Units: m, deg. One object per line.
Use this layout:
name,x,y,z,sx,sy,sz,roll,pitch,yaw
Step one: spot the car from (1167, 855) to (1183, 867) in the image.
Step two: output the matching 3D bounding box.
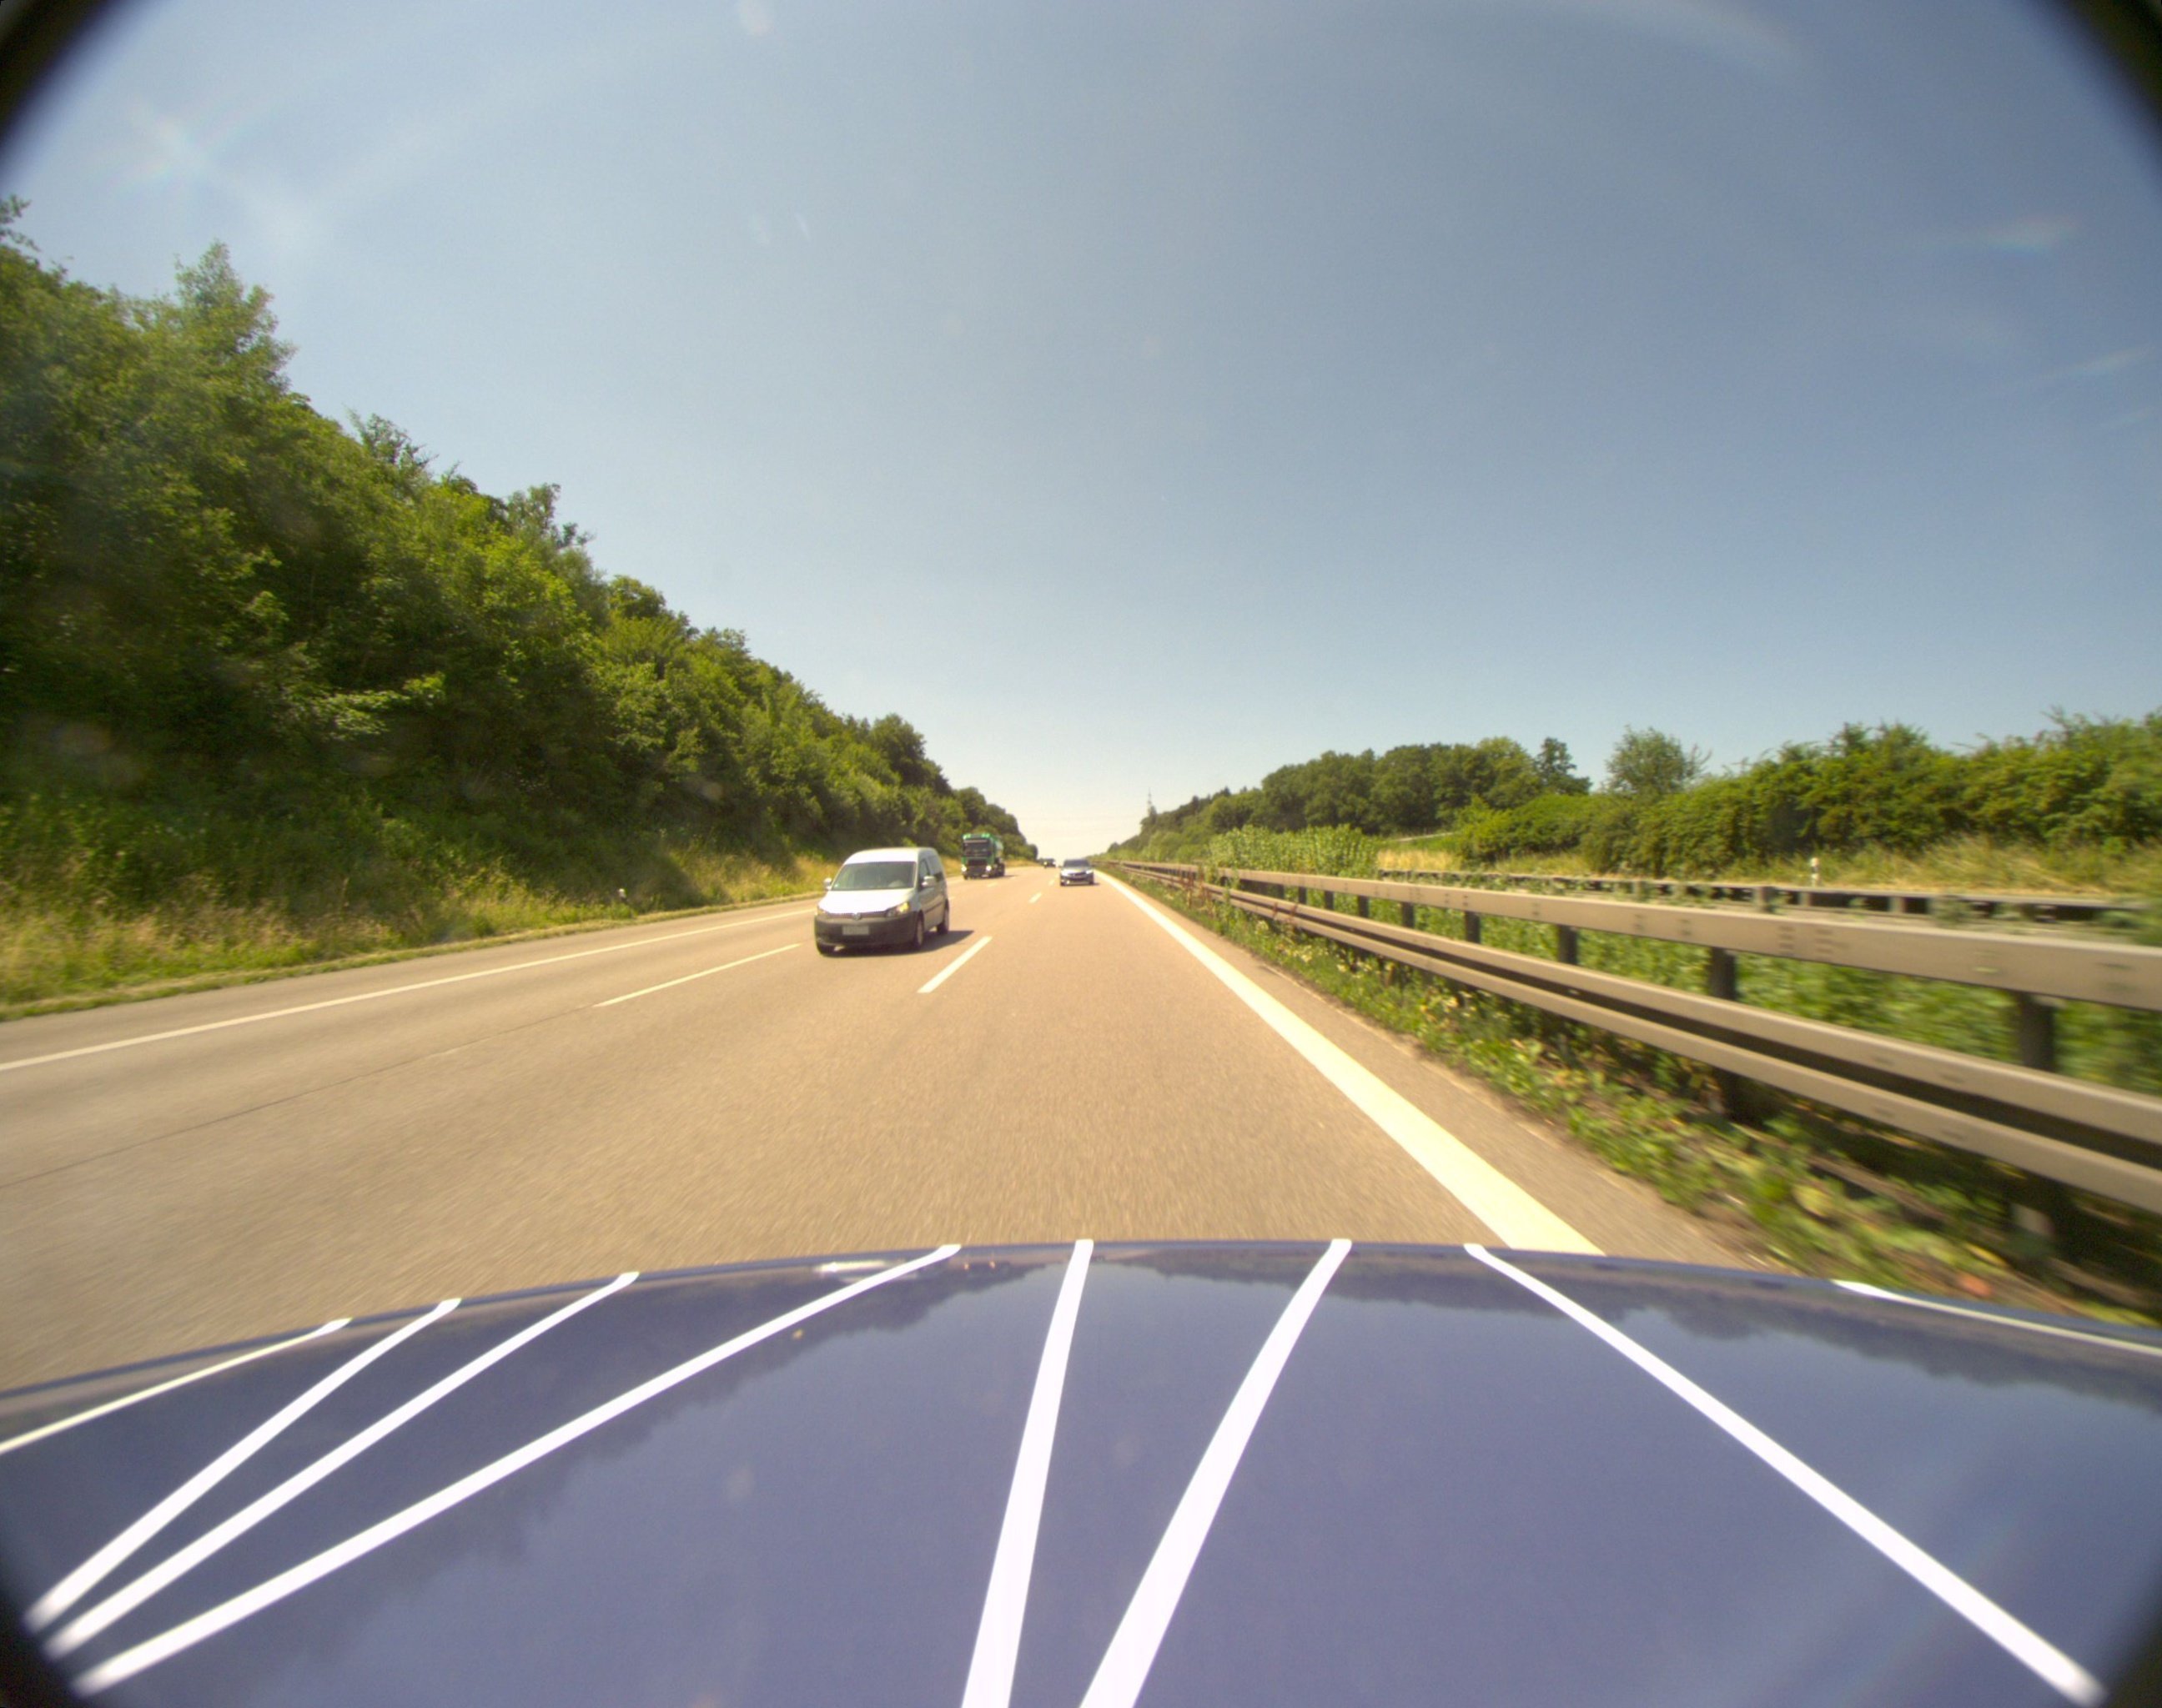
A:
car,14.461,1.111,116.632,1.805,1.805,4.289,-2,-1,0

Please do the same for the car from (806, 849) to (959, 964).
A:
car,-3.640,0.865,14.881,1.750,1.819,4.800,-2,0,-1

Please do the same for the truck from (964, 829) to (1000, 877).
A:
truck,-8.329,-0.037,64.437,2.516,3.819,4.892,-2,-1,-2

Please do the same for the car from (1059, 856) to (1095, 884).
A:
car,-0.172,0.879,41.543,1.768,1.400,4.000,-2,-1,2

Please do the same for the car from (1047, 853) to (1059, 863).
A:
car,-4.604,0.747,125.332,1.788,1.550,3.943,-2,-1,-2

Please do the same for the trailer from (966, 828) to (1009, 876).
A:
trailer,-8.451,-0.078,69.773,2.594,4.003,10.470,-2,-1,-1
